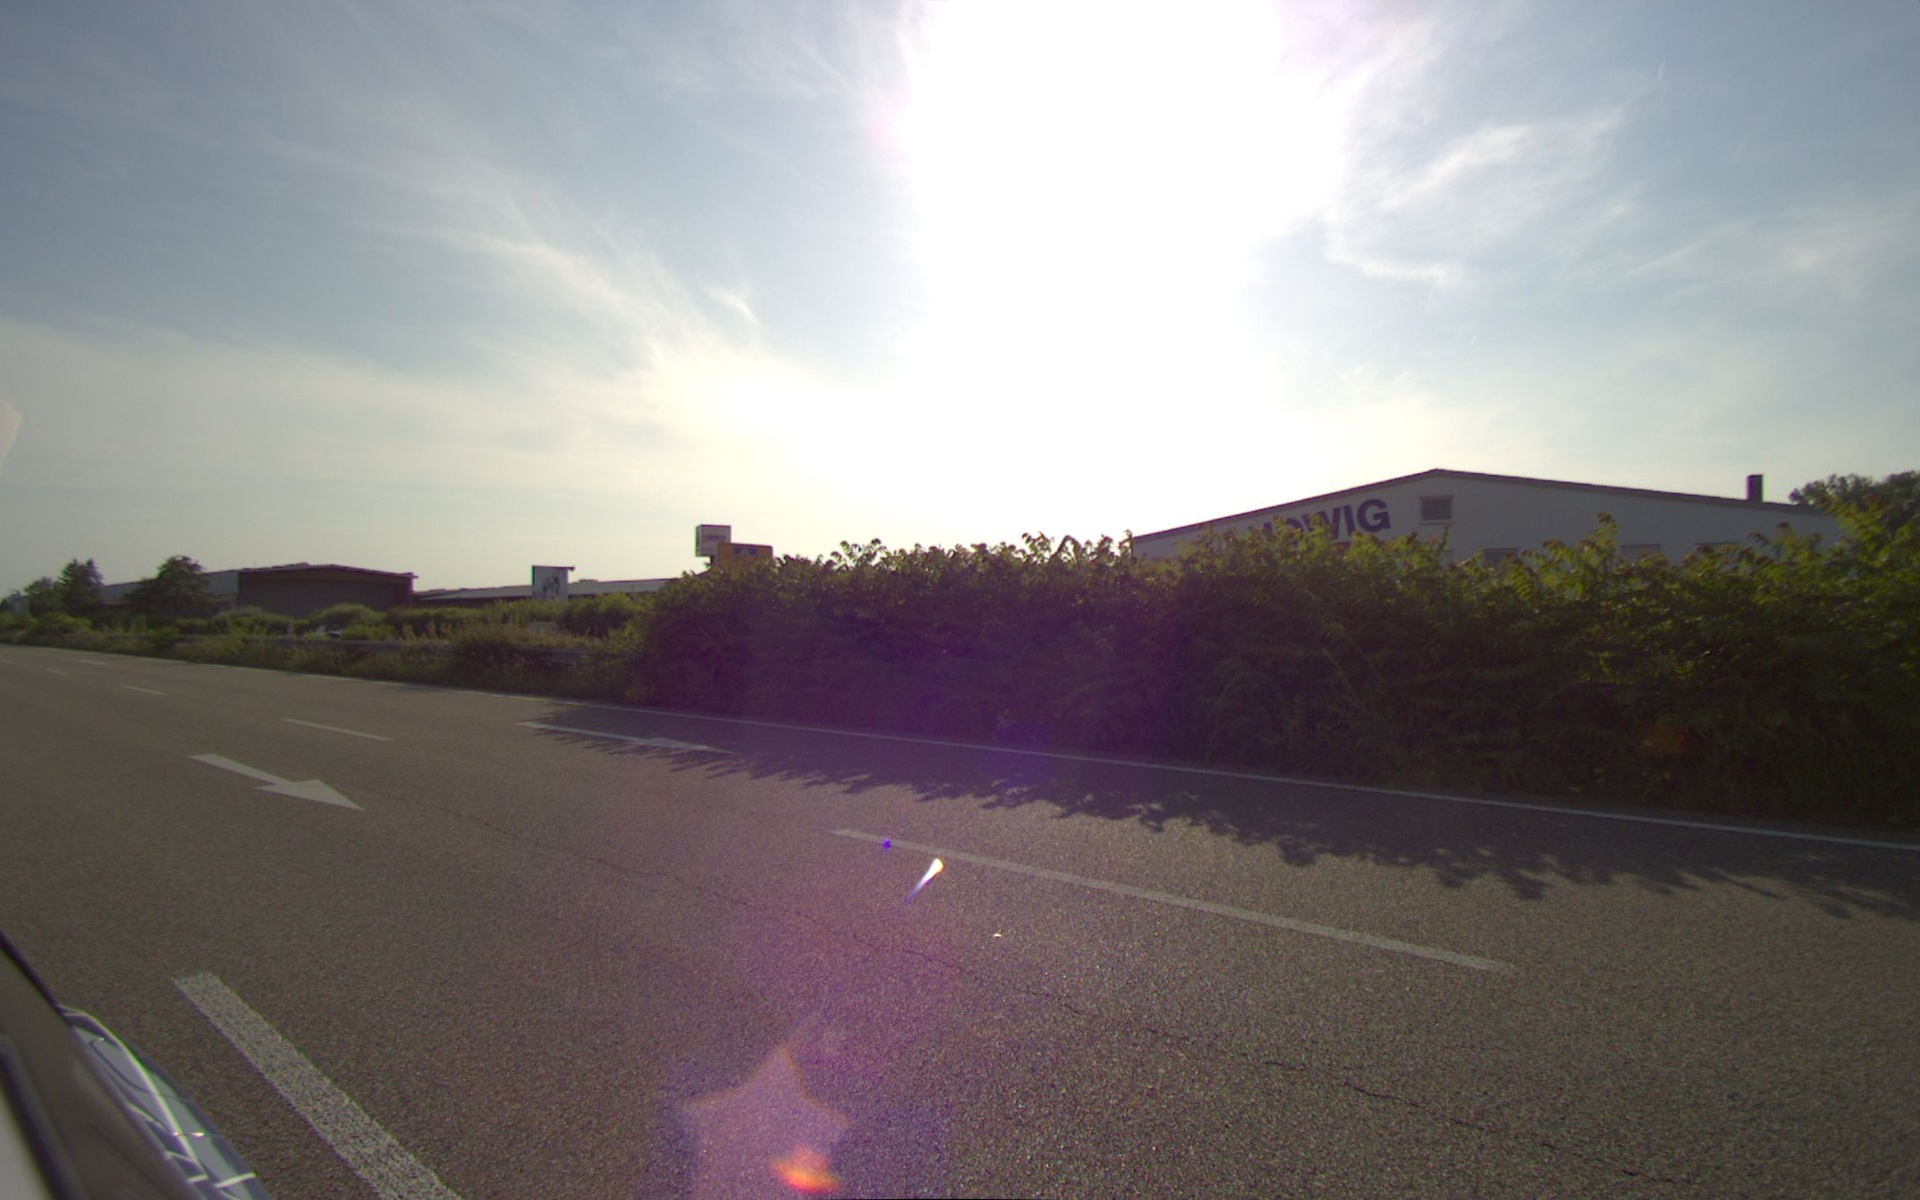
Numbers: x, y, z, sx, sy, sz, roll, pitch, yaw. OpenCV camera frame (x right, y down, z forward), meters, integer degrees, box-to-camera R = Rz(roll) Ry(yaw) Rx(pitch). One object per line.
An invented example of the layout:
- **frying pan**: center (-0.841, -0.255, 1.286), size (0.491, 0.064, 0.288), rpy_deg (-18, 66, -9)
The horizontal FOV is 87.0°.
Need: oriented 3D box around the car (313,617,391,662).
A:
- **car**: center (-23.411, 1.490, 38.922), size (3.458, 1.656, 1.579), rpy_deg (-1, -1, 41)
